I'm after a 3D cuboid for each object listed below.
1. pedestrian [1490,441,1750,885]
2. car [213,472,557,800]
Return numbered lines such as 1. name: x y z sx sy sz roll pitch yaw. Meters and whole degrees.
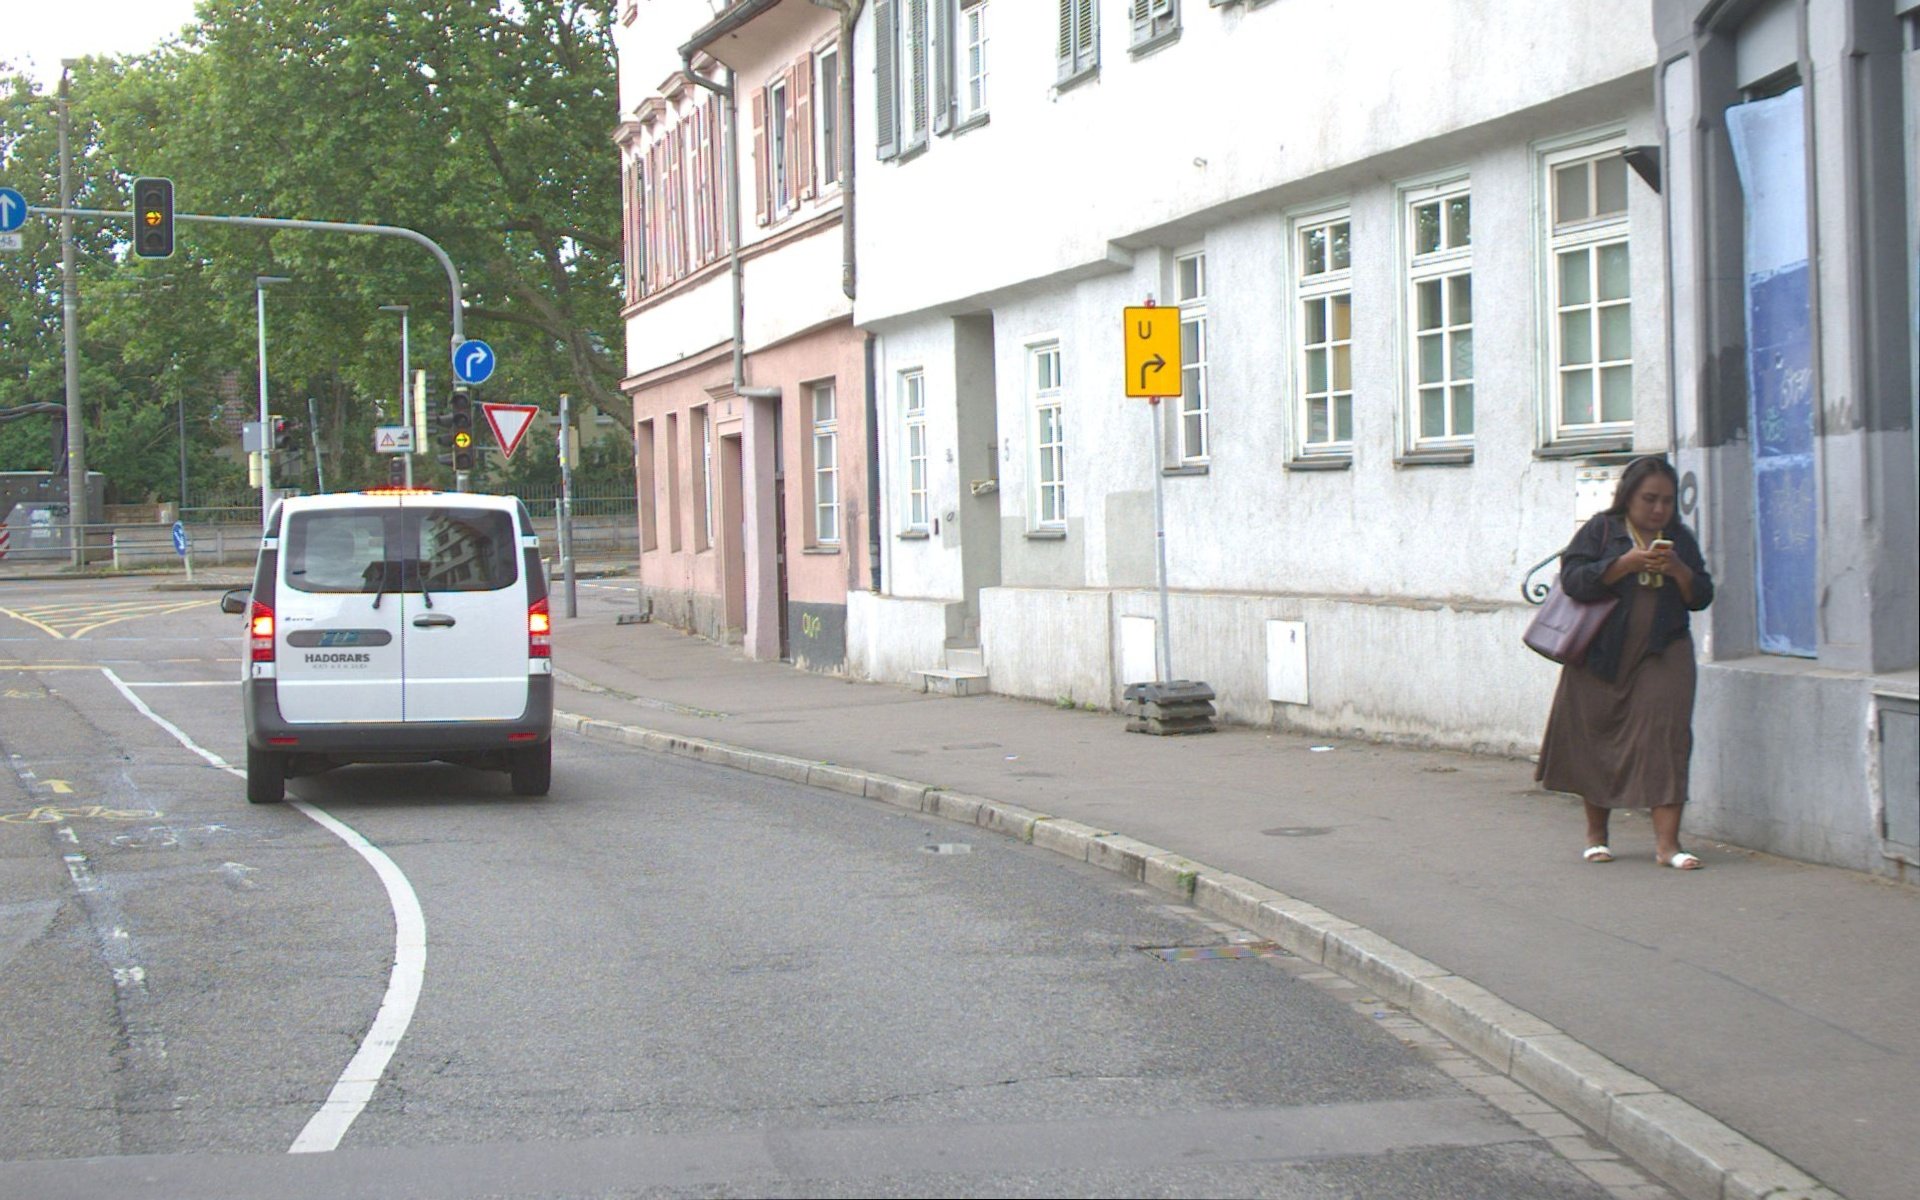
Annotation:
1. pedestrian: 2.601 0.231 13.614 0.755 1.661 0.809 -4 2 -1
2. car: -3.804 0.188 22.337 1.993 1.916 4.250 0 1 -12
